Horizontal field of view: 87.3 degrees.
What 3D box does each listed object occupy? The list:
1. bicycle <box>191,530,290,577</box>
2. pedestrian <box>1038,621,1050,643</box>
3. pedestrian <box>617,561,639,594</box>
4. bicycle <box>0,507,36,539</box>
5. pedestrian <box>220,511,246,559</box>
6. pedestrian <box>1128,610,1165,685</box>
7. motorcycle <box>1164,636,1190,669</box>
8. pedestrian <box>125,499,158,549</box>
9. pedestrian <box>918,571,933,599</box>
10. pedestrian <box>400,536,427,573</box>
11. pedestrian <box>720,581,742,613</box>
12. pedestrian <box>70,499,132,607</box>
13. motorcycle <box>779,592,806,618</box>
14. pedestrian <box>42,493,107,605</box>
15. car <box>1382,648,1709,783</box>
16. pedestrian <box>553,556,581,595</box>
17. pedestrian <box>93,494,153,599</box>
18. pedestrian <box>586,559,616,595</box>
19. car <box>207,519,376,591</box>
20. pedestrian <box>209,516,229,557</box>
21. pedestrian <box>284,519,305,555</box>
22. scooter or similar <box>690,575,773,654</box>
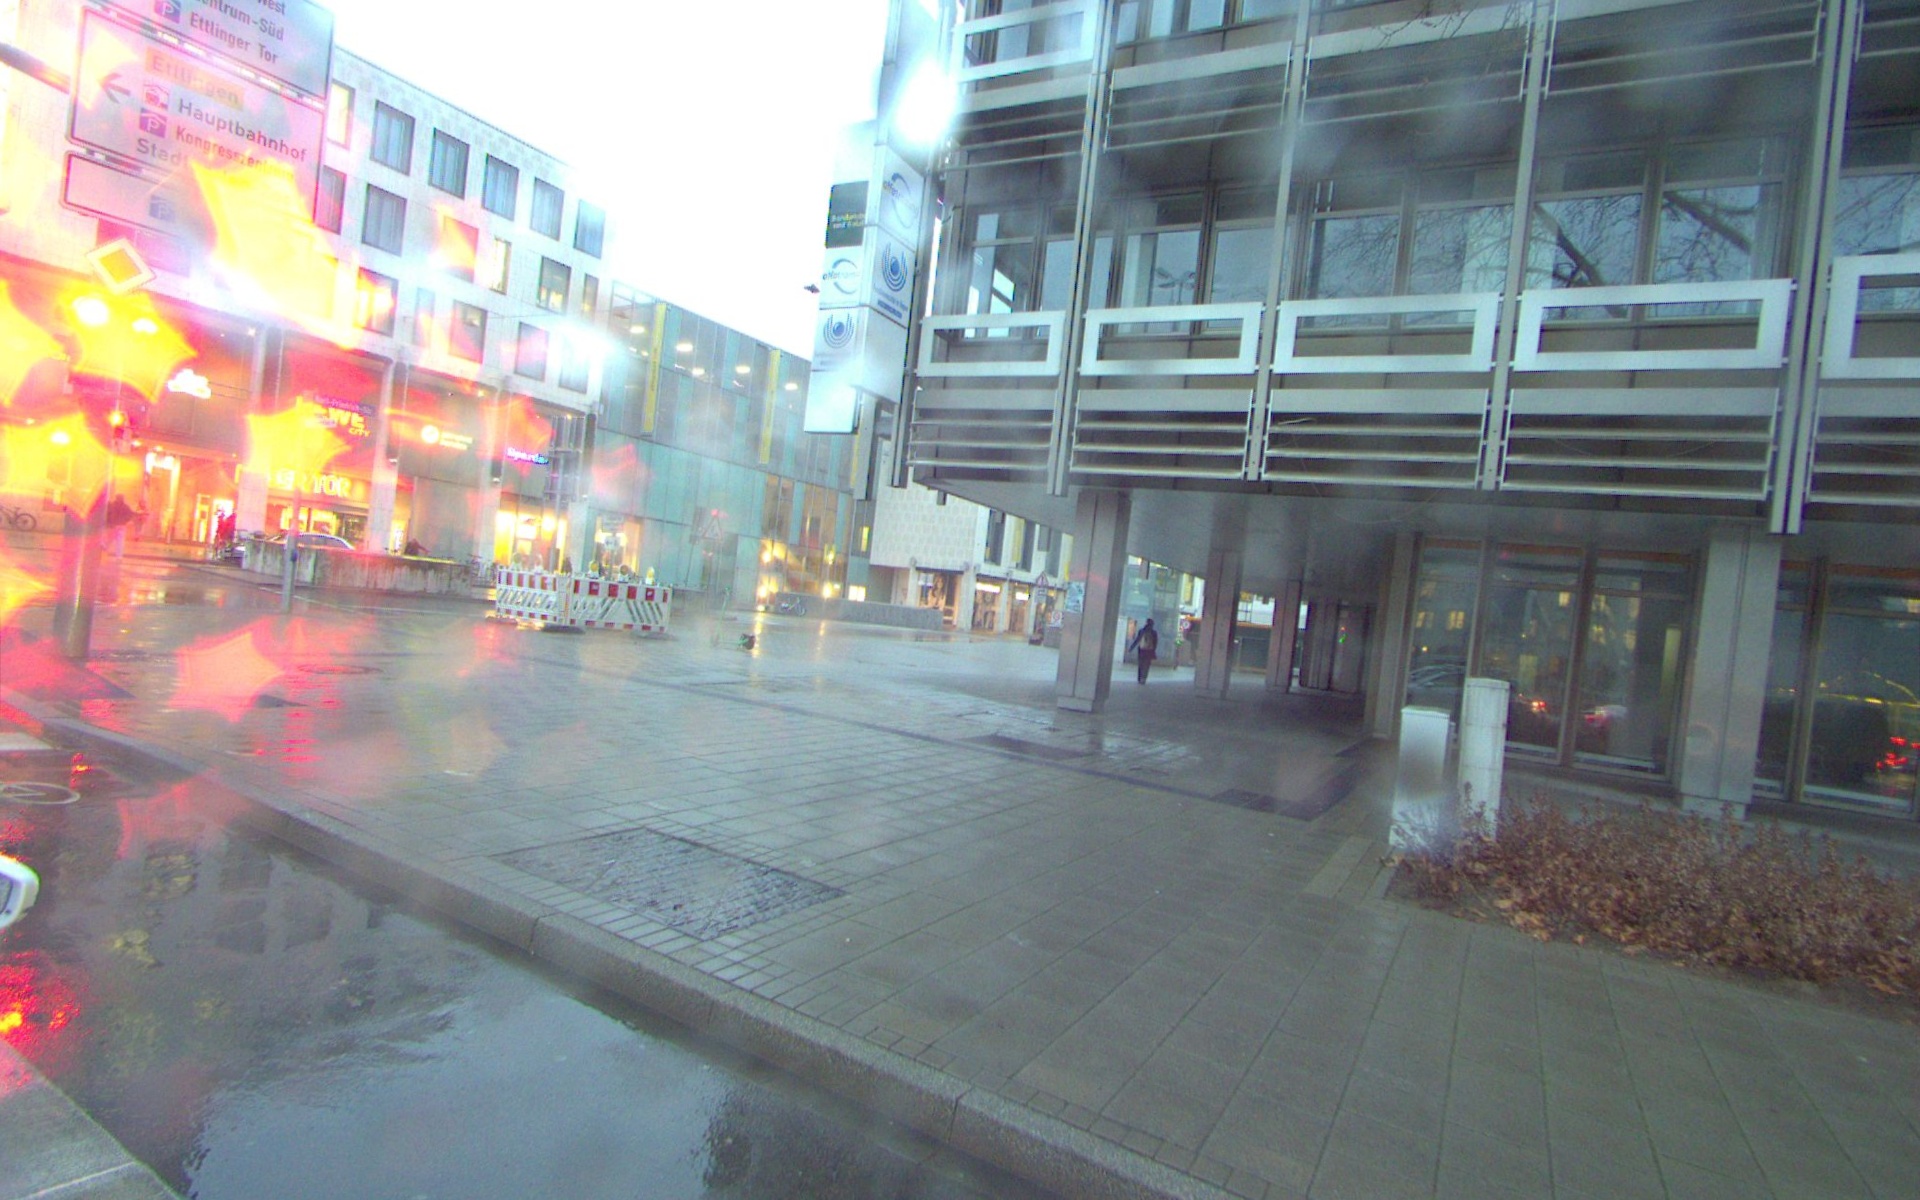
[{"bbox_3d":[-26.340,-1.685,36.881,0.941,1.375,2.718,6,-1,28],"label":"bicycle"},{"bbox_3d":[6.882,2.591,82.529,0.573,1.703,0.542,6,-1,38],"label":"pedestrian"},{"bbox_3d":[-18.941,-1.281,57.411,0.786,1.760,0.767,6,1,-43],"label":"pedestrian"},{"bbox_3d":[-36.513,-3.003,38.421,0.515,1.082,1.651,7,-2,28],"label":"bicycle"},{"bbox_3d":[-32.658,-2.925,45.200,0.788,2.039,0.586,6,1,-39],"label":"pedestrian"},{"bbox_3d":[4.699,1.207,25.333,0.678,1.796,0.660,7,-1,16],"label":"pedestrian"},{"bbox_3d":[9.828,2.385,45.490,0.584,1.368,1.493,7,-1,29],"label":"motorcycle"},{"bbox_3d":[-35.633,-3.303,43.777,0.688,2.038,0.845,7,1,40],"label":"pedestrian"},{"bbox_3d":[-2.195,-0.931,64.132,0.573,1.703,0.542,6,-1,38],"label":"pedestrian"},{"bbox_3d":[-26.510,-2.209,48.772,0.519,1.705,0.894,6,0,31],"label":"pedestrian"},{"bbox_3d":[-13.181,-0.174,57.980,0.770,1.703,0.742,6,-1,38],"label":"pedestrian"},{"bbox_3d":[-20.690,-1.129,24.234,0.745,2.469,0.691,7,-1,31],"label":"pedestrian"},{"bbox_3d":[-10.165,0.291,61.150,0.585,1.368,1.491,7,-1,36],"label":"motorcycle"},{"bbox_3d":[-20.590,-1.188,23.394,0.745,2.469,0.716,7,-1,31],"label":"pedestrian"},{"bbox_3d":[8.745,1.644,15.257,3.935,1.327,1.994,6,1,33],"label":"car"},{"bbox_3d":[-18.668,-1.153,47.790,0.770,1.703,0.742,6,-1,38],"label":"pedestrian"},{"bbox_3d":[-20.789,-1.321,24.997,0.778,2.477,0.694,7,-1,32],"label":"pedestrian"},{"bbox_3d":[-18.644,-1.184,52.268,0.810,1.703,1.032,6,-1,31],"label":"pedestrian"},{"bbox_3d":[-21.668,-1.425,32.756,1.968,1.636,3.994,6,-2,33],"label":"car"},{"bbox_3d":[-31.061,-2.662,42.184,0.480,1.683,0.454,6,1,-28],"label":"pedestrian"},{"bbox_3d":[-34.210,-3.212,51.713,0.729,1.740,0.733,6,1,-31],"label":"pedestrian"},{"bbox_3d":[-4.596,0.285,20.182,1.470,1.368,0.593,7,-1,32],"label":"scooter or similar"}]
